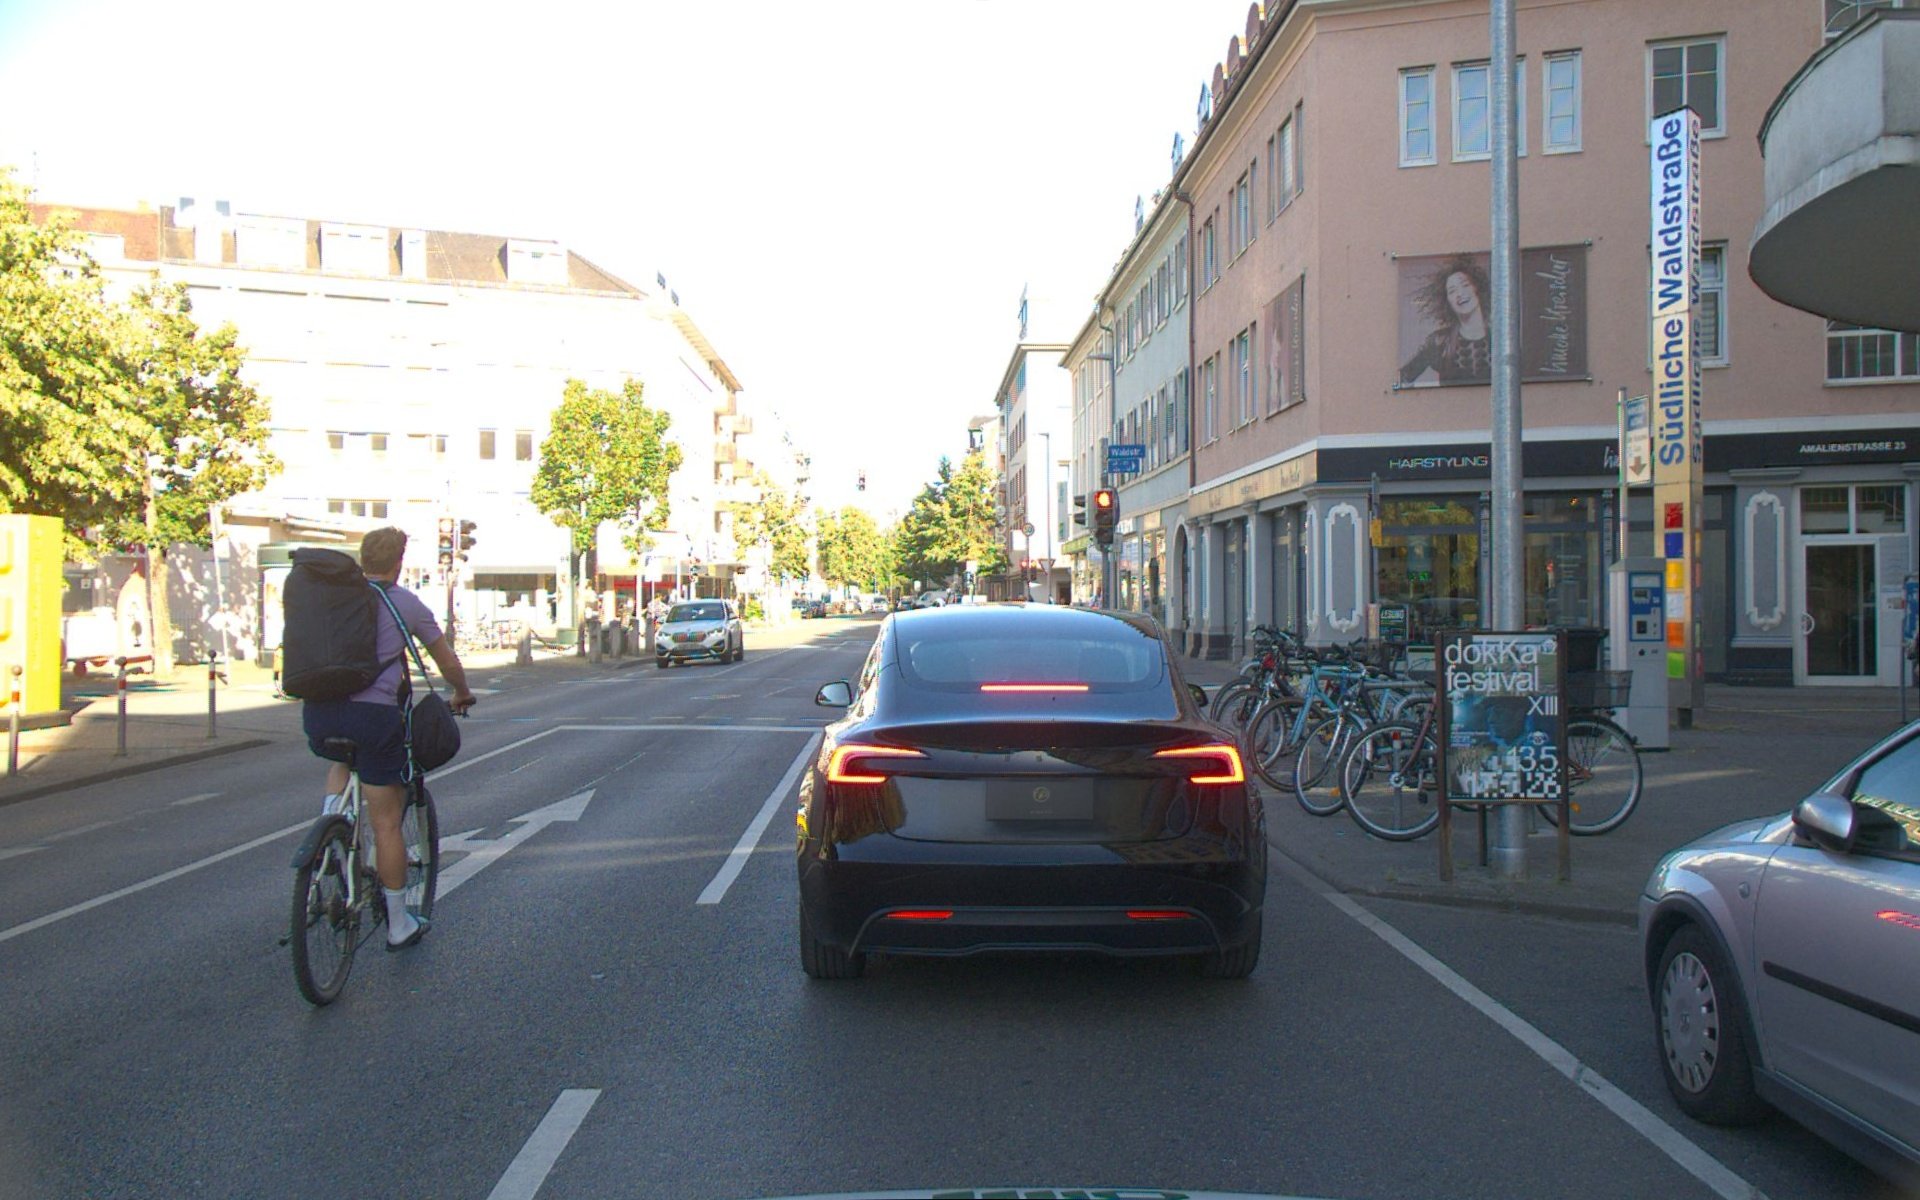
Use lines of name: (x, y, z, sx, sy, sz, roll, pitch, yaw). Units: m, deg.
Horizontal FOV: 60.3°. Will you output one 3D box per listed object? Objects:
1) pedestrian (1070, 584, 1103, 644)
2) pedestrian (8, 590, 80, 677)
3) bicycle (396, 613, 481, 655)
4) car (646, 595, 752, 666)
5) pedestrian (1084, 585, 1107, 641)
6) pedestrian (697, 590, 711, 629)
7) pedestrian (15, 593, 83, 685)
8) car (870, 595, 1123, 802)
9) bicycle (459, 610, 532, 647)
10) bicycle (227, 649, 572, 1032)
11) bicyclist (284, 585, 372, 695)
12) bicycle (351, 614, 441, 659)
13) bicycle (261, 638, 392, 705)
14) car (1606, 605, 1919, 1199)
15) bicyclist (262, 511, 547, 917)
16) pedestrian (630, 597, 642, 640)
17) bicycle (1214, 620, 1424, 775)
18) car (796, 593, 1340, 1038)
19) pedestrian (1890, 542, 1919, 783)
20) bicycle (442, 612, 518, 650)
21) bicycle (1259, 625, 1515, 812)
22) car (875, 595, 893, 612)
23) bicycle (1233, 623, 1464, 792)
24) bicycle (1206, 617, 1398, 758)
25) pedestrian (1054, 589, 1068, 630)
pedestrian: (4.049, 0.445, 53.034, 0.979, 1.883, 0.615, 0, 0, -1)
pedestrian: (-17.783, 0.642, 32.124, 0.966, 1.665, 0.737, 0, 0, 3)
bicycle: (-14.162, 0.916, 44.966, 2.040, 1.123, 0.806, 0, 0, -1)
car: (-6.402, 0.714, 40.975, 1.953, 1.567, 3.999, -3, 0, -1)
pedestrian: (4.336, 0.415, 53.057, 0.689, 1.814, 0.533, 0, 0, -1)
pedestrian: (-13.308, 0.486, 85.892, 0.613, 2.049, 0.707, 0, 0, -1)
pedestrian: (-17.647, 0.753, 32.037, 0.882, 1.755, 0.744, 0, 0, 3)
car: (0.265, 0.701, 13.763, 1.812, 1.480, 3.786, 0, 0, 0)
bicycle: (-14.574, 0.892, 51.928, 2.040, 1.123, 0.806, 0, 0, -1)
bicycle: (-2.130, 0.851, 6.562, 0.780, 1.254, 1.773, 0, 0, -1)
bicyclist: (-9.826, 0.604, 25.726, 1.096, 1.683, 0.629, 0, 0, 10)
bicycle: (-14.456, 0.928, 42.442, 2.040, 1.123, 0.806, 0, 0, -1)
bicycle: (-9.840, 1.098, 25.718, 1.823, 0.962, 0.629, 1, 0, 10)
car: (2.915, 0.733, 3.492, 1.588, 1.419, 3.886, 0, 0, 0)
bicyclist: (-2.128, 0.410, 6.466, 0.780, 1.460, 1.008, 0, 0, -1)
pedestrian: (-12.191, 0.689, 62.240, 0.378, 1.619, 0.705, 0, 0, -5)
bicycle: (2.931, 0.788, 13.563, 1.595, 1.180, 0.432, -2, 0, -2)
car: (0.361, 0.717, 7.409, 1.812, 1.480, 3.786, 0, 0, 0)
pedestrian: (6.952, 0.419, 11.433, 0.620, 1.661, 0.656, -2, -1, -35)
bicycle: (-14.430, 0.933, 49.737, 2.040, 1.123, 0.806, 0, 0, -1)
bicycle: (2.885, 0.790, 11.222, 1.595, 1.180, 0.432, -2, 0, -2)
car: (-7.895, 0.360, 172.073, 1.793, 1.754, 3.998, 0, 0, -2)
bicycle: (2.892, 0.790, 12.381, 1.595, 1.180, 0.432, -2, 0, -2)
bicycle: (3.048, 0.775, 14.787, 1.594, 1.180, 0.433, -2, 0, 0)
pedestrian: (4.257, 0.391, 69.822, 0.559, 1.720, 0.387, 0, 0, -1)
